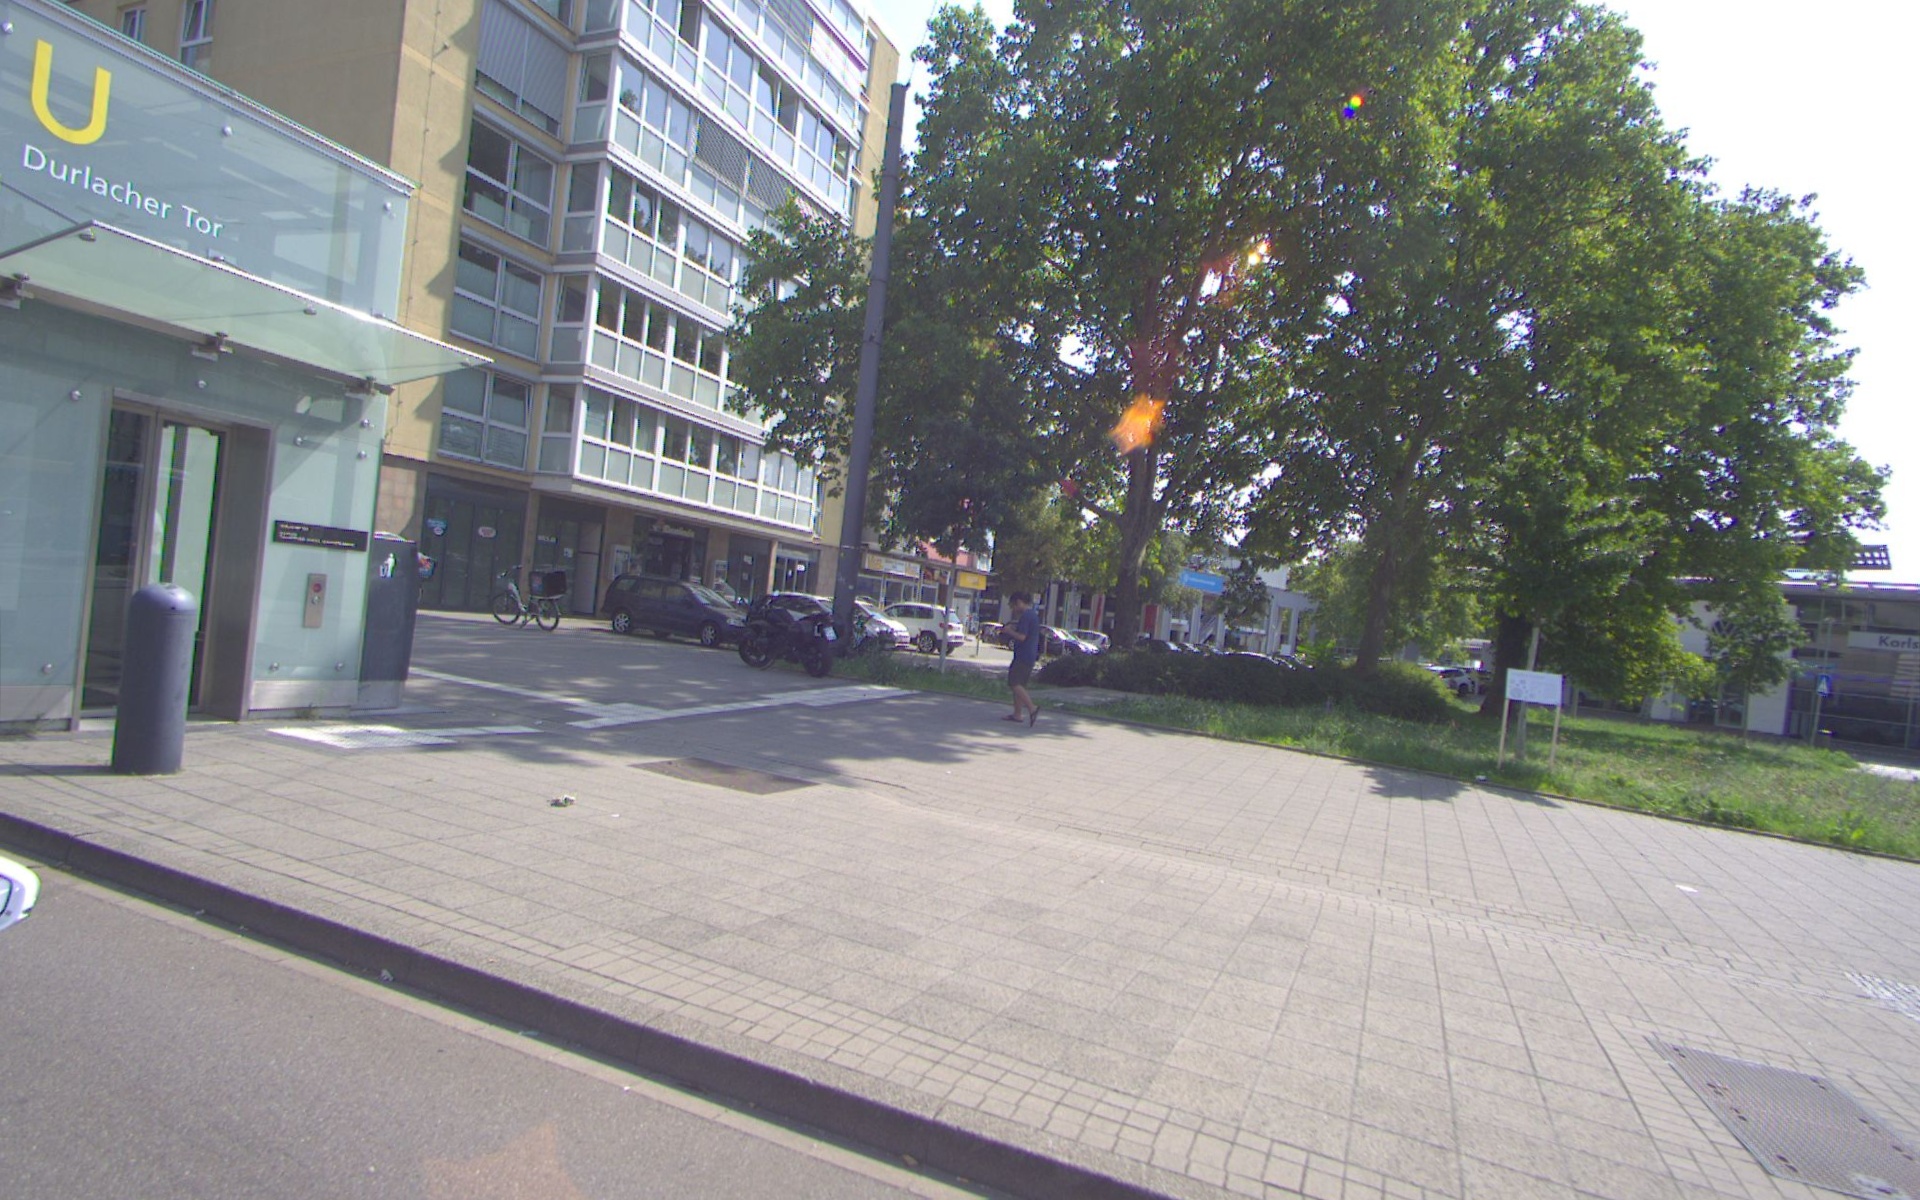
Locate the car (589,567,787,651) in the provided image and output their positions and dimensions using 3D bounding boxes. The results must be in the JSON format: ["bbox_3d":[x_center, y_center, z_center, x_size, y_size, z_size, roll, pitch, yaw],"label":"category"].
[{"bbox_3d":[-6.527,0.218,24.159,4.168,1.488,1.905,7,0,22],"label":"car"}]

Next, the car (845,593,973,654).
[{"bbox_3d":[-1.787,0.833,35.622,3.999,1.687,1.790,7,0,22],"label":"car"}]

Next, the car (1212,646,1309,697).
[{"bbox_3d":[11.473,2.705,38.389,3.232,1.479,1.614,7,0,25],"label":"car"}]

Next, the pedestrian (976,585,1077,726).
[{"bbox_3d":[0.850,0.689,12.697,0.932,1.629,0.793,6,1,21],"label":"pedestrian"}]

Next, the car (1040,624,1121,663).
[{"bbox_3d":[6.707,2.402,55.897,3.999,1.687,1.790,7,0,22],"label":"car"}]

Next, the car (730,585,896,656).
[{"bbox_3d":[-4.171,0.573,28.566,4.168,1.488,1.905,7,0,22],"label":"car"}]

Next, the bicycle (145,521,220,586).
[{"bbox_3d":[-17.535,-1.051,22.685,1.794,1.254,0.409,7,1,22],"label":"bicycle"}]

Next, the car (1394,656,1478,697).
[{"bbox_3d":[27.668,4.440,58.477,4.195,1.775,1.710,7,0,-16],"label":"car"}]

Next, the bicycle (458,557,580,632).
[{"bbox_3d":[-9.070,-0.122,20.662,2.391,1.254,0.794,6,0,24],"label":"bicycle"}]

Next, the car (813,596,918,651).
[{"bbox_3d":[-3.129,0.800,33.462,3.041,1.446,1.403,7,0,22],"label":"car"}]

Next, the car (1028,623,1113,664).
[{"bbox_3d":[5.903,2.308,53.746,3.999,1.687,1.790,7,0,22],"label":"car"}]

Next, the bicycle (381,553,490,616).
[{"bbox_3d":[-11.436,-0.326,21.988,0.588,1.157,1.962,7,0,39],"label":"bicycle"}]

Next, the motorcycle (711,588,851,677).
[{"bbox_3d":[-2.842,0.498,15.856,2.080,1.151,0.909,6,0,37],"label":"motorcycle"}]

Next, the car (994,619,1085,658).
[{"bbox_3d":[3.921,1.881,49.400,3.999,1.415,1.790,7,0,22],"label":"car"}]

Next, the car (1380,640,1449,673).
[{"bbox_3d":[27.479,3.441,60.838,3.964,1.527,1.980,7,0,-36],"label":"car"}]
